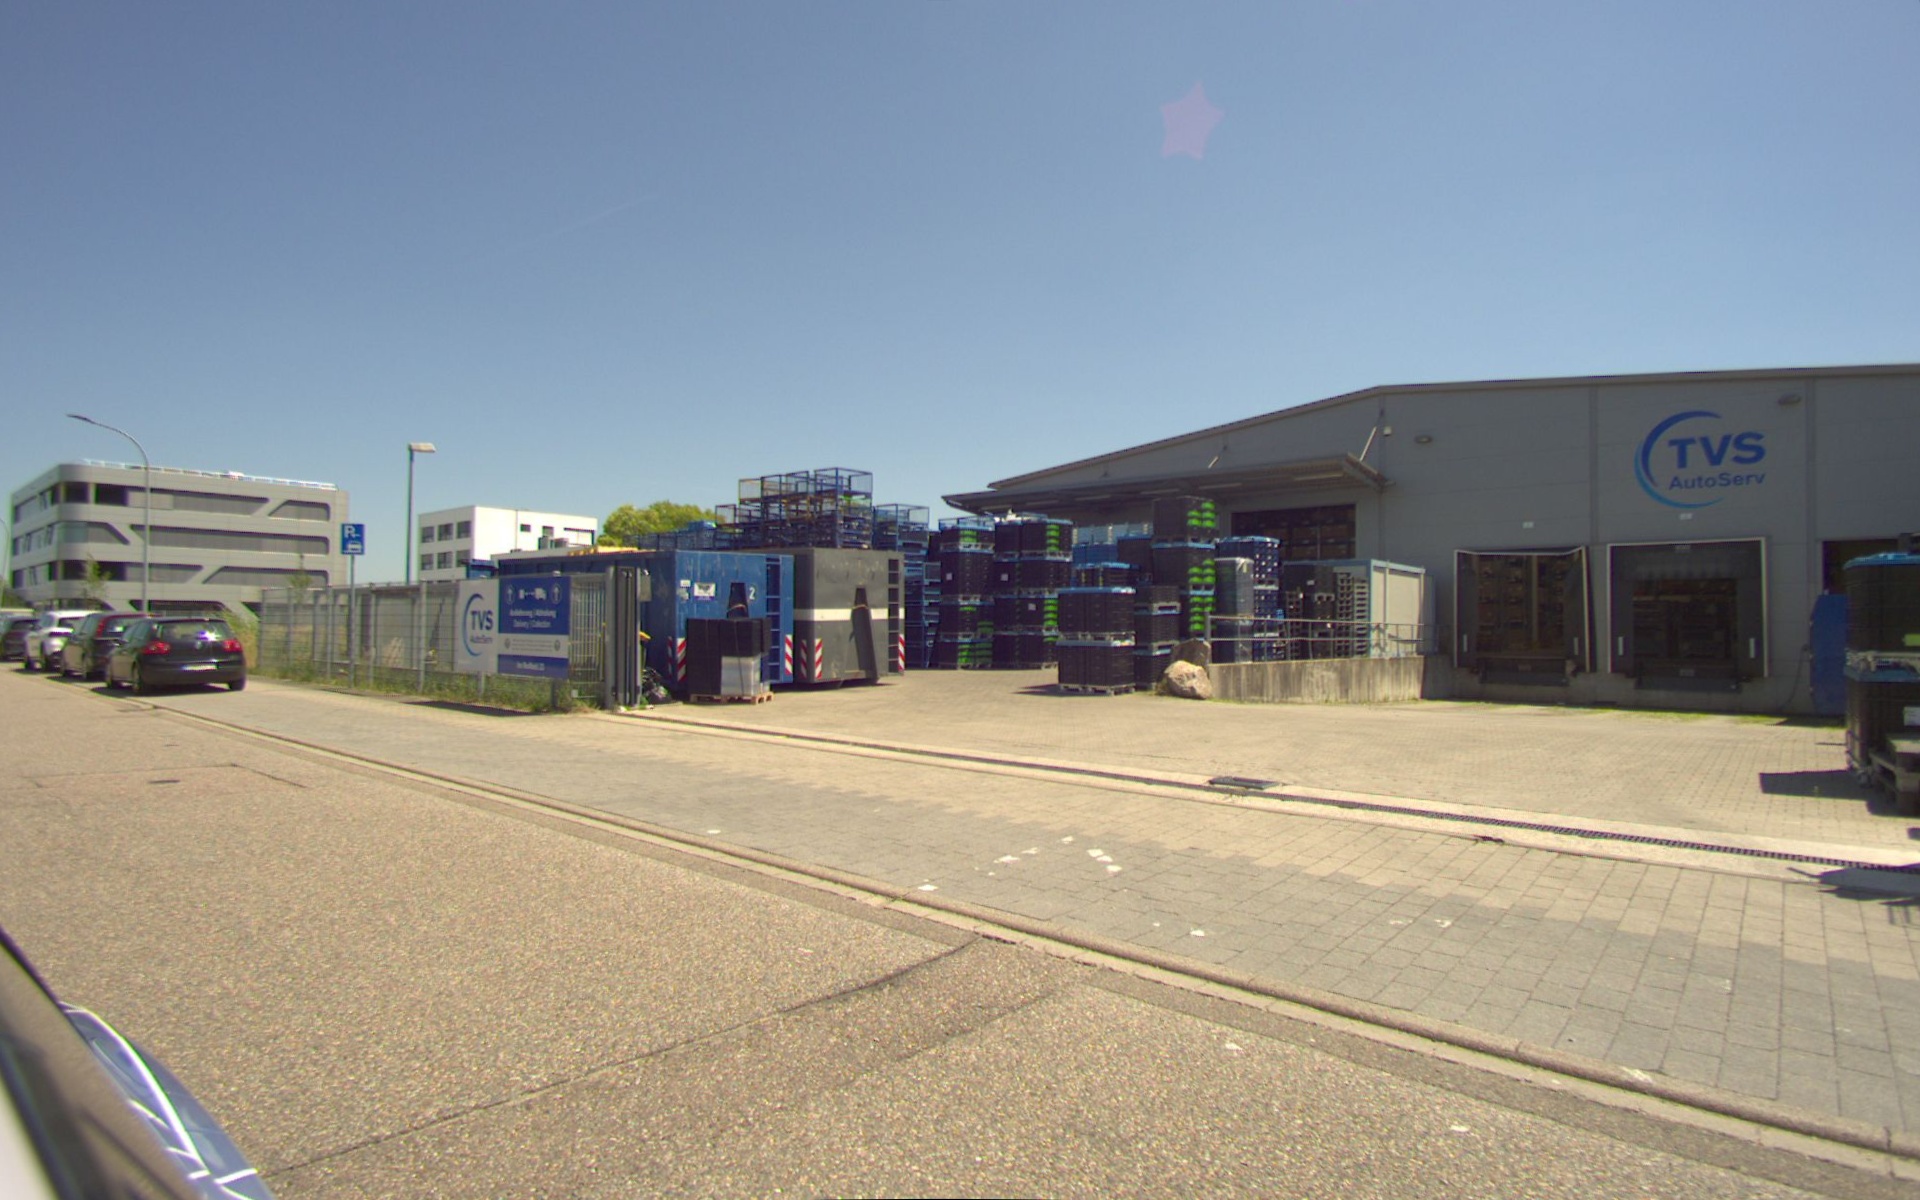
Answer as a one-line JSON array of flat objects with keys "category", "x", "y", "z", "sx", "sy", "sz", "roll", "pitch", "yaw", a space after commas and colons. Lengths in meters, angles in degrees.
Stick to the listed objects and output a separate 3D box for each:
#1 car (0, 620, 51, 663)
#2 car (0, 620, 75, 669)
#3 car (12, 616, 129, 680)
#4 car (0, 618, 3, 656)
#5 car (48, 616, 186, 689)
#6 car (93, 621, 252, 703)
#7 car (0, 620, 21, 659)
[{"category": "car", "x": -34.883, "y": 1.486, "z": 37.045, "sx": 4.812, "sy": 1.492, "sz": 1.757, "roll": -1, "pitch": -1, "yaw": 40}, {"category": "car", "x": -30.787, "y": 1.431, "z": 33.370, "sx": 4.227, "sy": 1.492, "sz": 1.838, "roll": -1, "pitch": -1, "yaw": 41}, {"category": "car", "x": -24.278, "y": 1.248, "z": 27.573, "sx": 4.356, "sy": 1.604, "sz": 1.751, "roll": -1, "pitch": -1, "yaw": 40}, {"category": "car", "x": -42.946, "y": 1.604, "z": 43.777, "sx": 4.459, "sy": 1.619, "sz": 1.772, "roll": -1, "pitch": -1, "yaw": 40}, {"category": "car", "x": -20.220, "y": 1.190, "z": 24.212, "sx": 4.497, "sy": 1.568, "sz": 1.751, "roll": -1, "pitch": -1, "yaw": 40}, {"category": "car", "x": -15.974, "y": 1.167, "z": 20.451, "sx": 4.331, "sy": 1.472, "sz": 1.750, "roll": -1, "pitch": -1, "yaw": 41}, {"category": "car", "x": -38.923, "y": 1.563, "z": 40.406, "sx": 3.732, "sy": 1.537, "sz": 1.677, "roll": -1, "pitch": -1, "yaw": 40}]
